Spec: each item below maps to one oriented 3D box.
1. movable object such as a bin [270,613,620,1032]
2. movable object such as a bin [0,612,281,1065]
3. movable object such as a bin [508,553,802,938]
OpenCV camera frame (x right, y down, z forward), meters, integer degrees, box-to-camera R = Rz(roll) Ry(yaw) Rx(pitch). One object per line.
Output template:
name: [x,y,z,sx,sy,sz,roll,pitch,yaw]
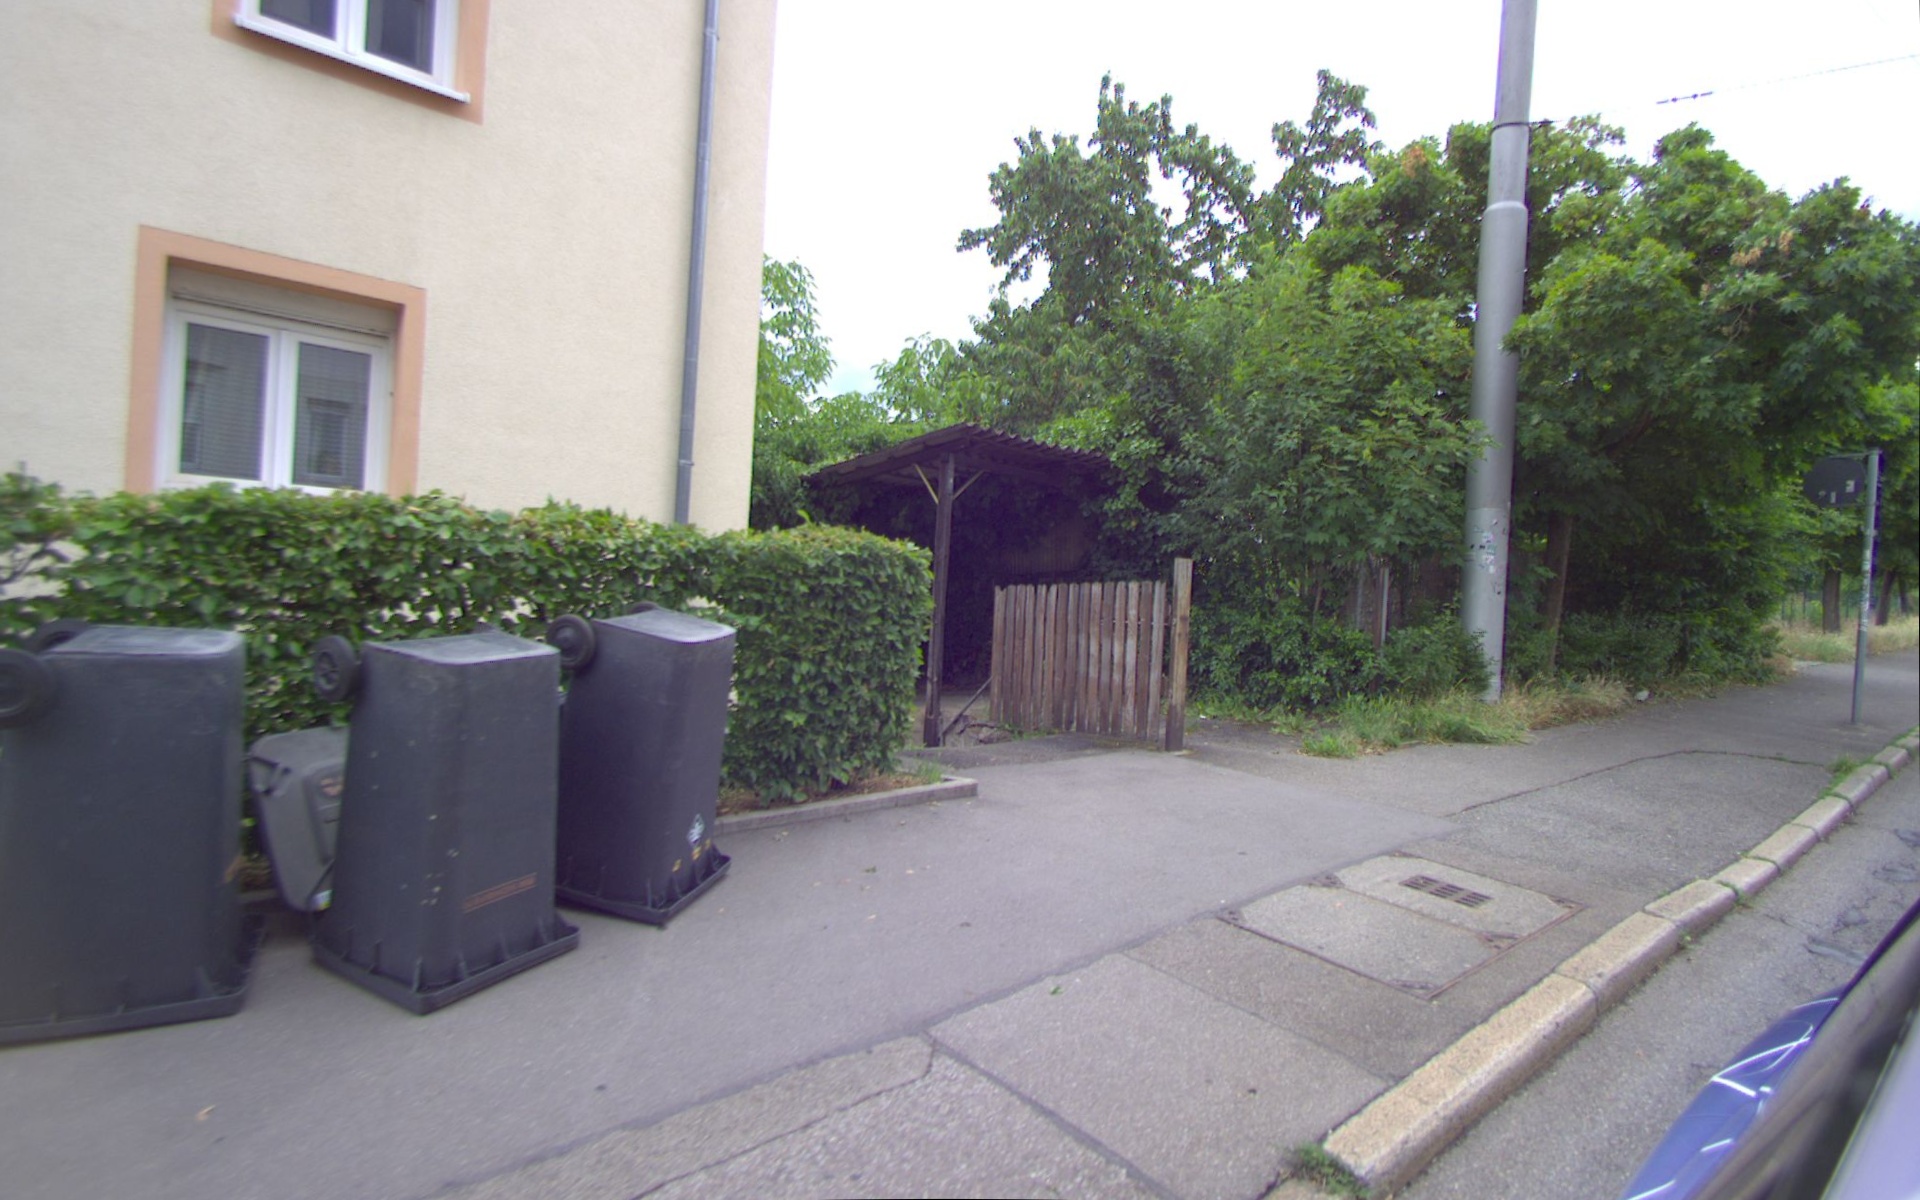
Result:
movable object such as a bin: [-1.616,0.583,3.166,0.776,1.024,0.793,-1,3,-44]
movable object such as a bin: [-2.387,0.574,2.809,0.775,1.024,0.794,0,3,-38]
movable object such as a bin: [-1.152,0.452,3.807,0.776,1.233,0.793,0,3,-44]
